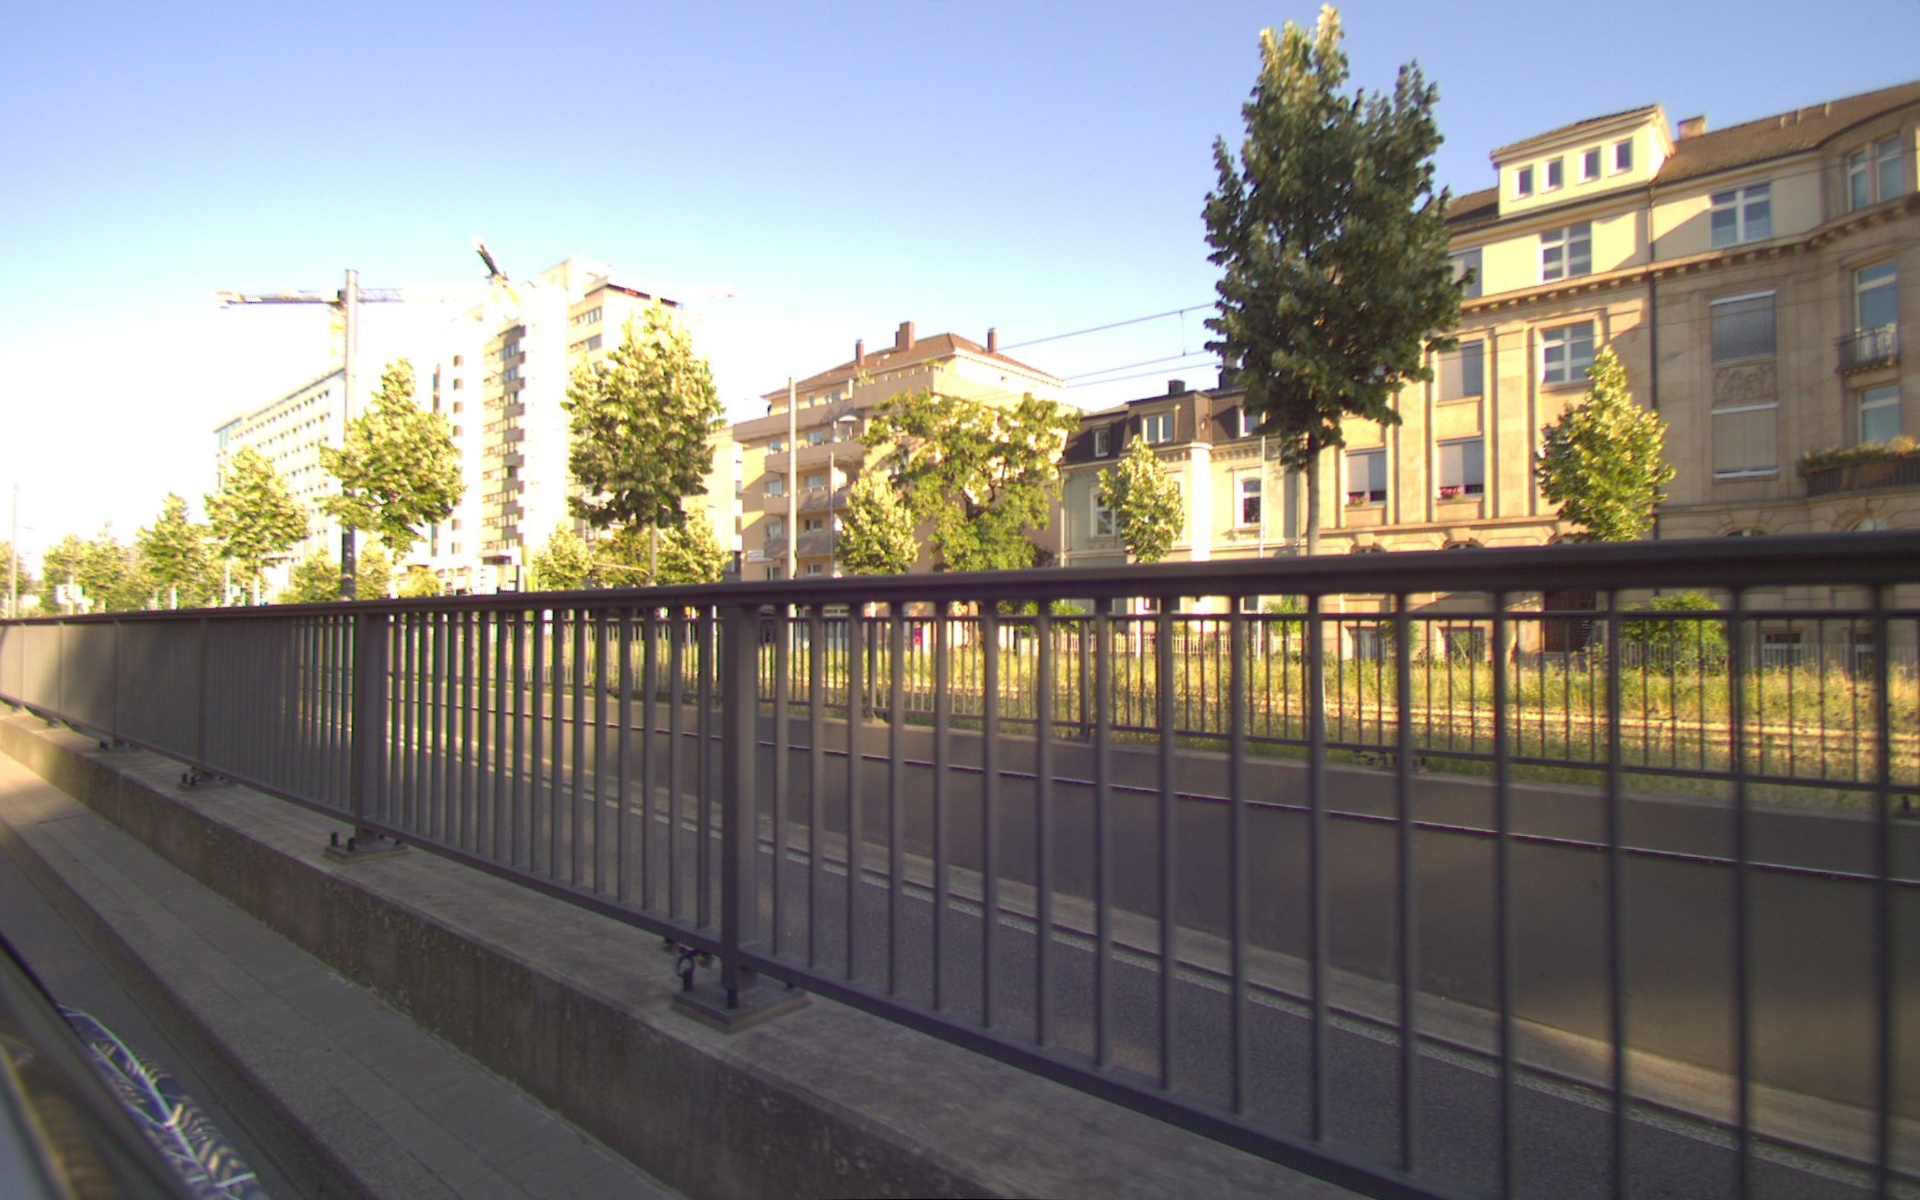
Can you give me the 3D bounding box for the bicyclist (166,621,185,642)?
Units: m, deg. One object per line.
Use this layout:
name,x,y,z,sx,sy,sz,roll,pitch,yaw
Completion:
bicyclist,-52.437,2.123,67.668,0.710,1.405,0.732,-1,-2,18

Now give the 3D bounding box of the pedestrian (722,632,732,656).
pedestrian,-15.458,2.938,67.161,0.520,1.567,0.442,-2,-2,41

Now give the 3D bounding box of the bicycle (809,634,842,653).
bicycle,-8.458,2.710,63.494,2.585,1.145,0.525,-2,-2,42

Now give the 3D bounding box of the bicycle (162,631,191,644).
bicycle,-52.487,2.516,67.801,2.015,0.898,0.503,-1,-2,19

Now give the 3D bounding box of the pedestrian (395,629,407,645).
pedestrian,-57.448,3.767,104.013,0.882,1.652,0.766,-2,-2,41

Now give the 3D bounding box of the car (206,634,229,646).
car,-98.149,5.299,133.753,3.389,1.477,1.850,-1,0,42

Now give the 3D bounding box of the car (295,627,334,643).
car,-66.996,3.642,105.134,1.763,1.455,3.804,-1,0,-3

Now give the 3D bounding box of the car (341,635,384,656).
car,-57.080,4.326,96.746,1.599,1.703,4.195,-1,0,1

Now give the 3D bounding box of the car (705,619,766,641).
car,-16.207,2.154,73.157,1.846,1.508,3.945,-1,-1,41

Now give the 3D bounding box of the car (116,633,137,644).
car,-123.445,5.683,149.893,4.660,1.474,1.757,-2,-2,41
